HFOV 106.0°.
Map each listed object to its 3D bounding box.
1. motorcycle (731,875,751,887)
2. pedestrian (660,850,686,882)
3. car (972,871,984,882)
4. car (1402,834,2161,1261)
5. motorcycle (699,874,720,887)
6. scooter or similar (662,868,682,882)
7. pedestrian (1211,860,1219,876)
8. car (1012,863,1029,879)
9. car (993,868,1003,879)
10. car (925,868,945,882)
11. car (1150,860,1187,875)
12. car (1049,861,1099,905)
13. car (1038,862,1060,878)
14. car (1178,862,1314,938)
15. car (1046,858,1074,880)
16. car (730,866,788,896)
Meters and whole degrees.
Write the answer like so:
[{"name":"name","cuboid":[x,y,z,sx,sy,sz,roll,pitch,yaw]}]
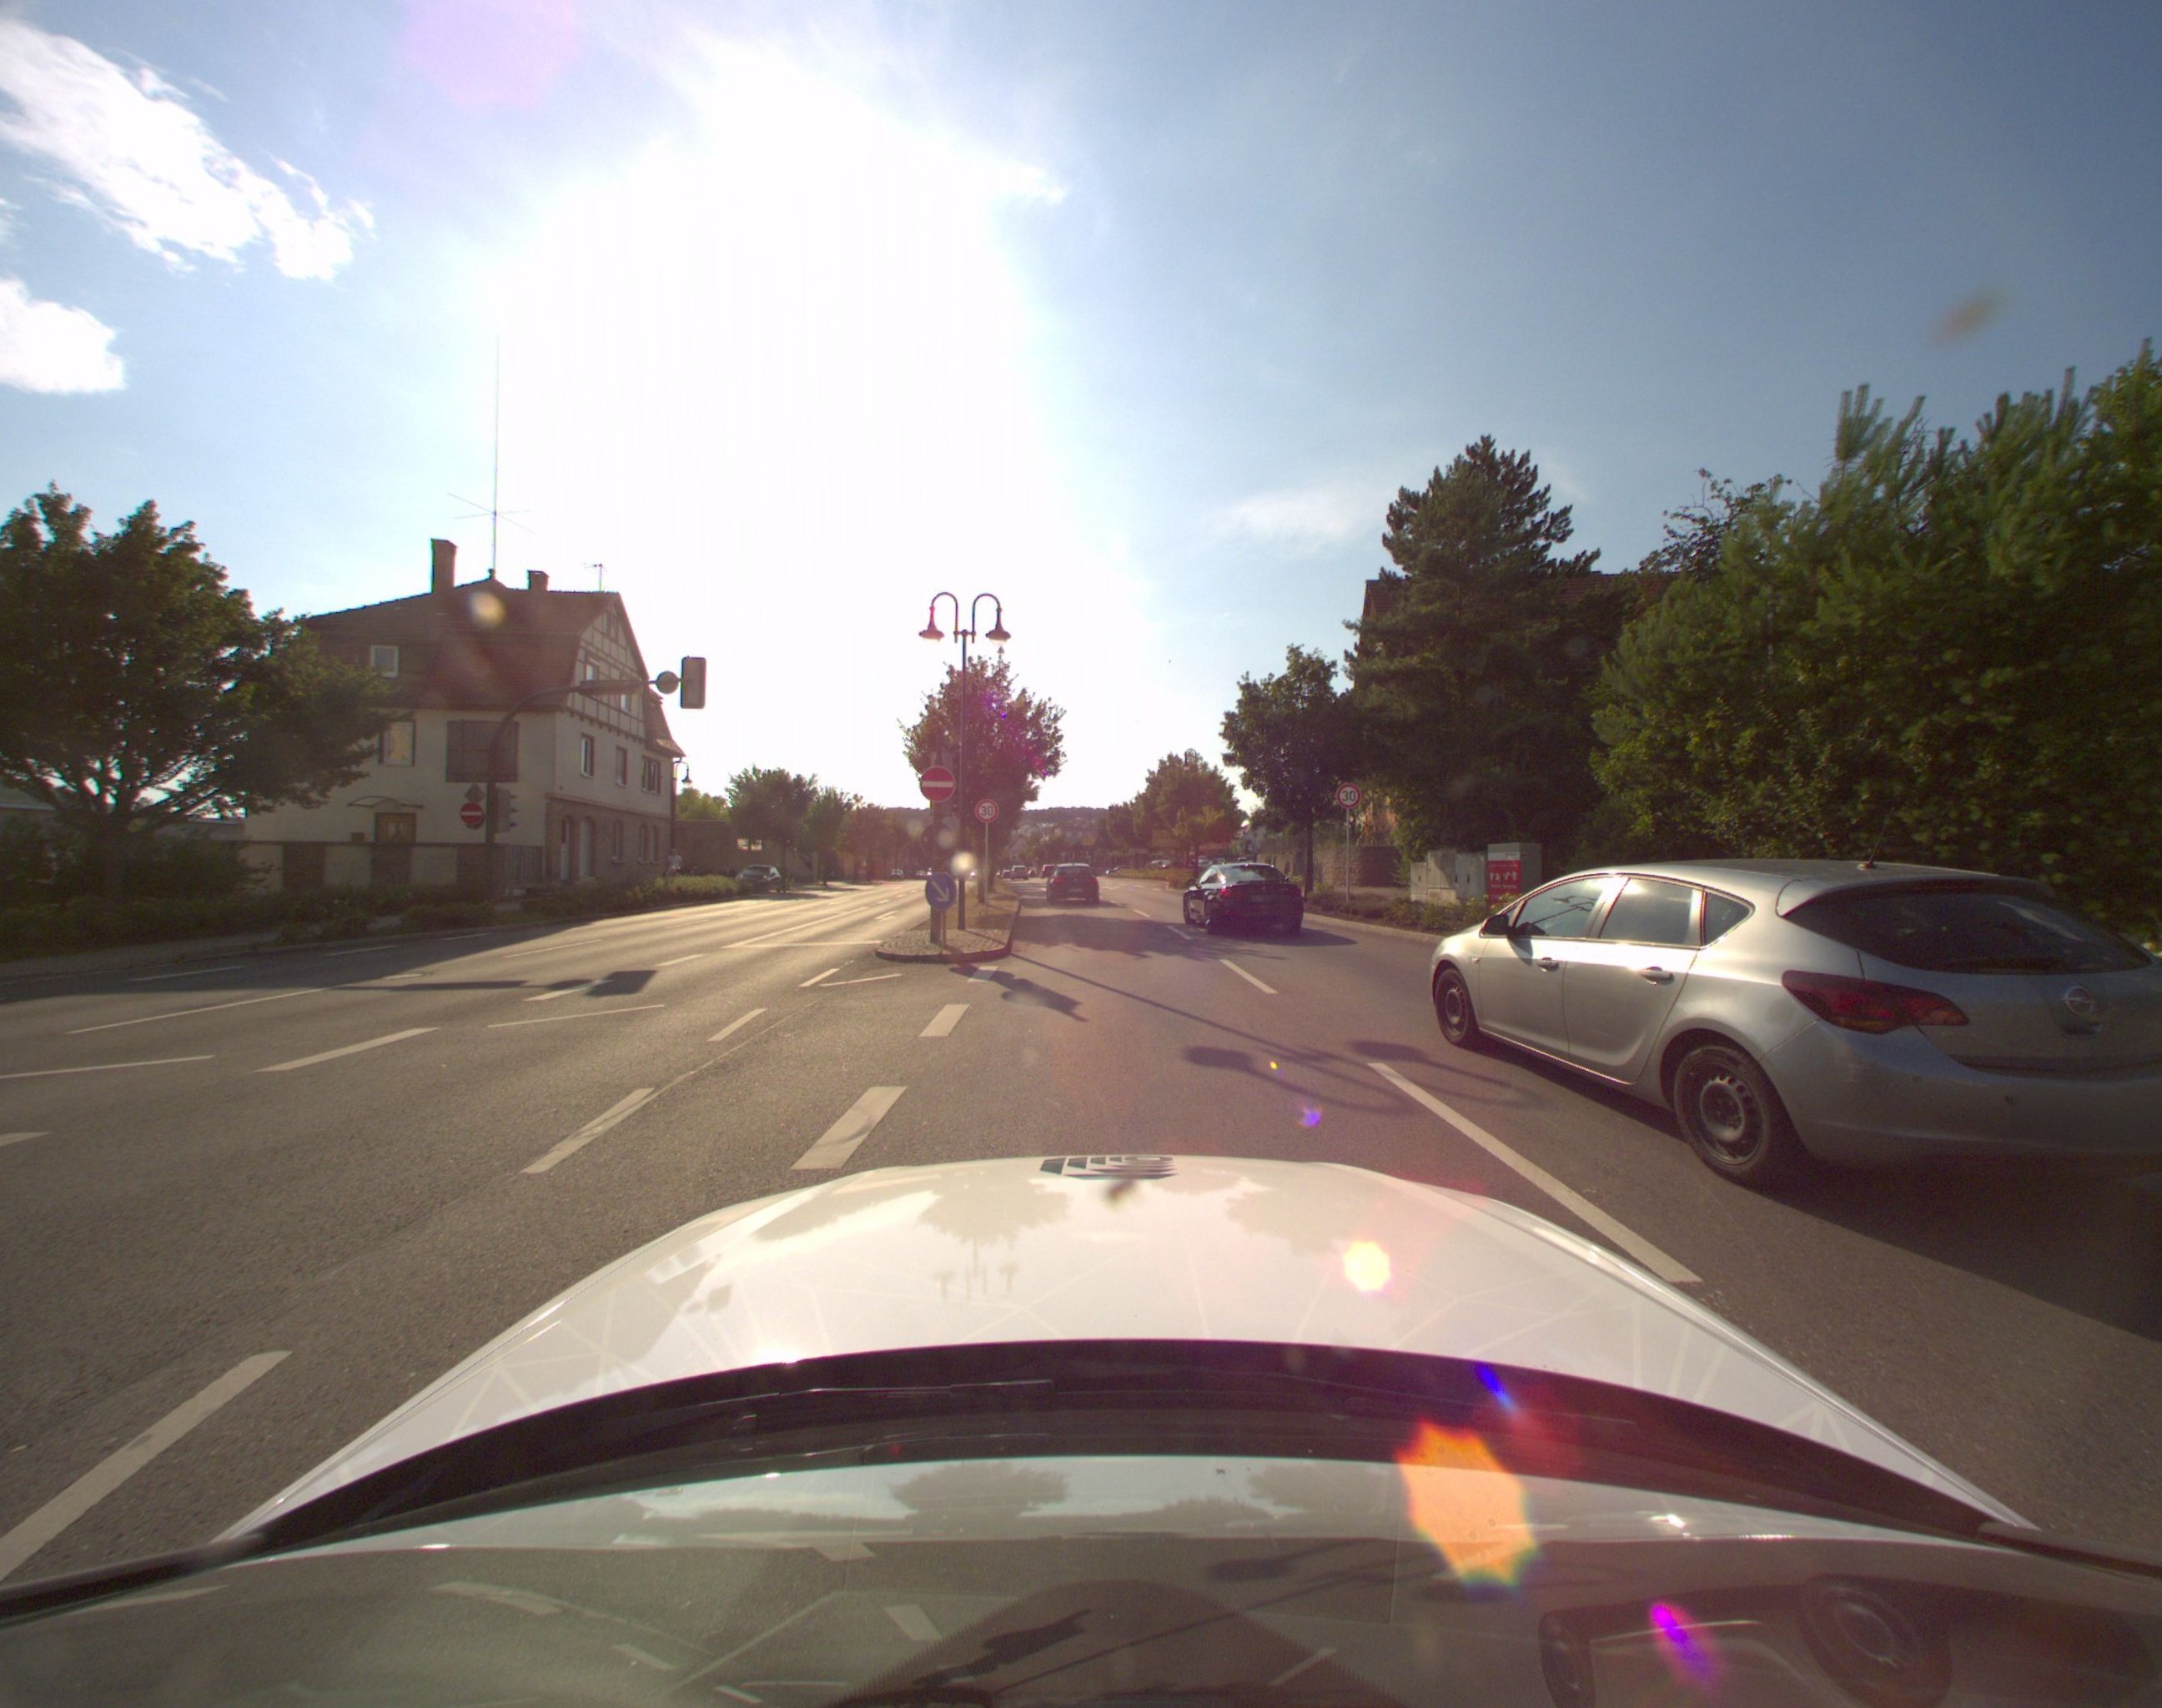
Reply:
[{"name":"motorcycle","cuboid":[-28.268,2.227,67.725,0.511,1.005,1.551,-2,-1,24]},{"name":"pedestrian","cuboid":[-18.059,0.536,36.082,0.812,1.394,0.705,-1,-1,-8]},{"name":"car","cuboid":[-16.336,3.614,129.119,1.727,1.679,3.993,-1,-1,-5]},{"name":"car","cuboid":[3.692,0.688,5.057,1.715,1.490,4.306,-1,0,1]},{"name":"motorcycle","cuboid":[-30.841,2.193,67.675,0.511,1.069,1.646,-2,-1,26]},{"name":"scooter or similar","cuboid":[-17.711,0.894,35.252,0.443,0.582,1.041,-1,-1,-7]},{"name":"pedestrian","cuboid":[14.504,1.485,88.120,0.693,1.703,0.950,-1,-1,2]},{"name":"car","cuboid":[-6.615,1.848,88.838,1.754,1.769,3.961,-1,-1,-6]},{"name":"car","cuboid":[-16.494,3.877,161.851,1.768,2.014,3.997,-1,-1,-2]},{"name":"car","cuboid":[-15.306,2.195,85.488,1.755,1.361,4.472,-1,-1,-7]},{"name":"car","cuboid":[13.007,1.965,121.212,5.141,2.130,2.125,0,-1,-31]},{"name":"car","cuboid":[-0.196,1.030,30.064,1.715,1.490,4.353,-1,-1,1]},{"name":"car","cuboid":[-3.813,1.892,95.322,2.214,1.769,4.444,-1,-1,-7]},{"name":"car","cuboid":[3.303,0.890,17.158,1.915,1.364,4.351,-1,-1,-1]},{"name":"car","cuboid":[-1.799,1.251,68.462,1.923,1.769,4.444,-1,-1,-6]},{"name":"car","cuboid":[-17.330,1.401,44.023,1.754,1.454,4.124,3,-1,-6]}]
